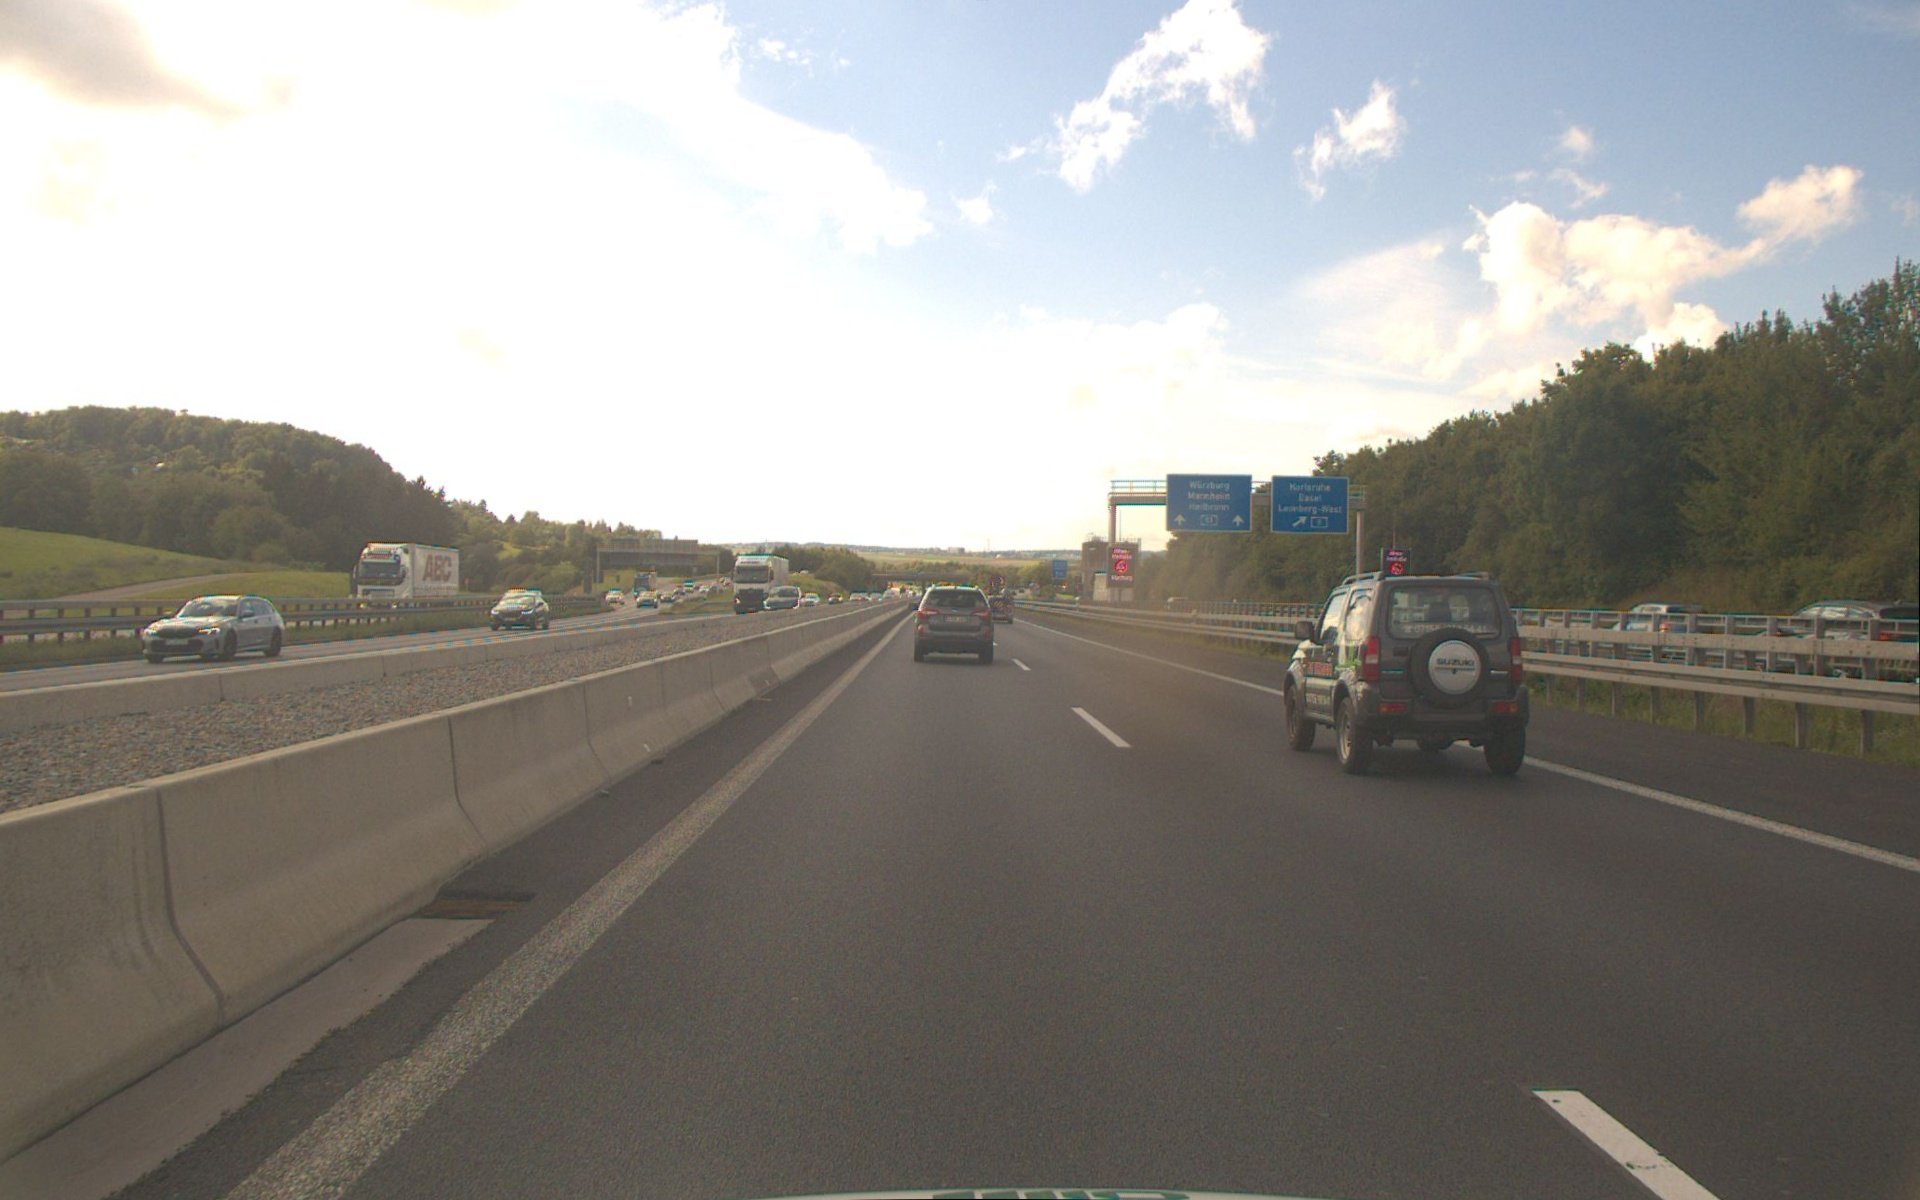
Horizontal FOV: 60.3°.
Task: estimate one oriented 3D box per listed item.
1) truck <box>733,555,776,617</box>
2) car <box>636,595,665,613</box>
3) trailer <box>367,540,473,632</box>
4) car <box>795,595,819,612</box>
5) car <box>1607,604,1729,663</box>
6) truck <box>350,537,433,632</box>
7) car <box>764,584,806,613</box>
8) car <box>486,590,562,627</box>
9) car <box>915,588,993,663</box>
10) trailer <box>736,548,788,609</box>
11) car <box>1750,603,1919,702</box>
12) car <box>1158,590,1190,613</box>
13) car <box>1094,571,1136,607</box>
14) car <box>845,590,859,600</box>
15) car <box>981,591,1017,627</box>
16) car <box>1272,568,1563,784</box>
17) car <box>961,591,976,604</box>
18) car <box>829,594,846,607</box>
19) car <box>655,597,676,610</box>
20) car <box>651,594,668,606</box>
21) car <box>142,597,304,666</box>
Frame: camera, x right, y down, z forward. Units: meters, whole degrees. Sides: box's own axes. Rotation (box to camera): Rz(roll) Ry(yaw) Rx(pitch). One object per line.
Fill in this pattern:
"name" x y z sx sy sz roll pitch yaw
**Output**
"truck" -14.208 -0.917 114.614 2.438 4.201 5.297 0 0 -1
"car" -27.548 0.359 147.314 1.903 1.521 4.127 0 0 -1
"trailer" -32.996 -0.784 101.764 3.048 5.251 14.701 0 0 -6
"car" -14.854 0.324 161.228 1.953 1.646 5.001 0 0 -1
"car" 21.458 0.980 50.278 1.953 1.738 3.999 0 0 -1
"truck" -32.322 -0.868 94.292 2.967 5.232 6.621 0 0 -6
"car" -9.342 -0.068 88.683 1.810 1.521 4.972 0 0 -1
"car" -18.324 0.343 69.780 1.903 1.521 5.305 0 0 -1
"car" -0.124 0.572 38.543 1.714 1.659 3.609 0 0 0
"trailer" -14.276 -1.443 120.179 2.437 4.201 13.280 0 0 -1
"car" 15.163 0.836 27.576 1.953 1.510 3.998 1 0 -2
"car" 16.453 0.130 127.337 1.953 1.747 3.999 0 0 -1
"car" 16.277 -1.112 174.145 3.504 3.741 7.547 0 0 -1
"car" -16.239 -0.740 248.766 1.953 1.481 4.180 0 0 -1
"car" 2.281 0.534 98.040 1.953 2.117 3.999 0 0 -1
"car" 4.201 0.636 15.854 1.632 1.763 4.207 1 0 0
"car" 1.214 -0.383 227.234 1.935 1.810 4.119 0 0 -1
"car" -15.178 0.059 205.188 1.764 1.646 4.301 0 0 -1
"car" -36.489 0.446 204.967 1.903 1.521 4.127 0 0 -1
"car" -44.133 0.005 242.951 1.764 1.646 4.301 0 0 -1
"car" -17.155 0.697 38.770 1.612 1.521 4.996 0 0 -1
